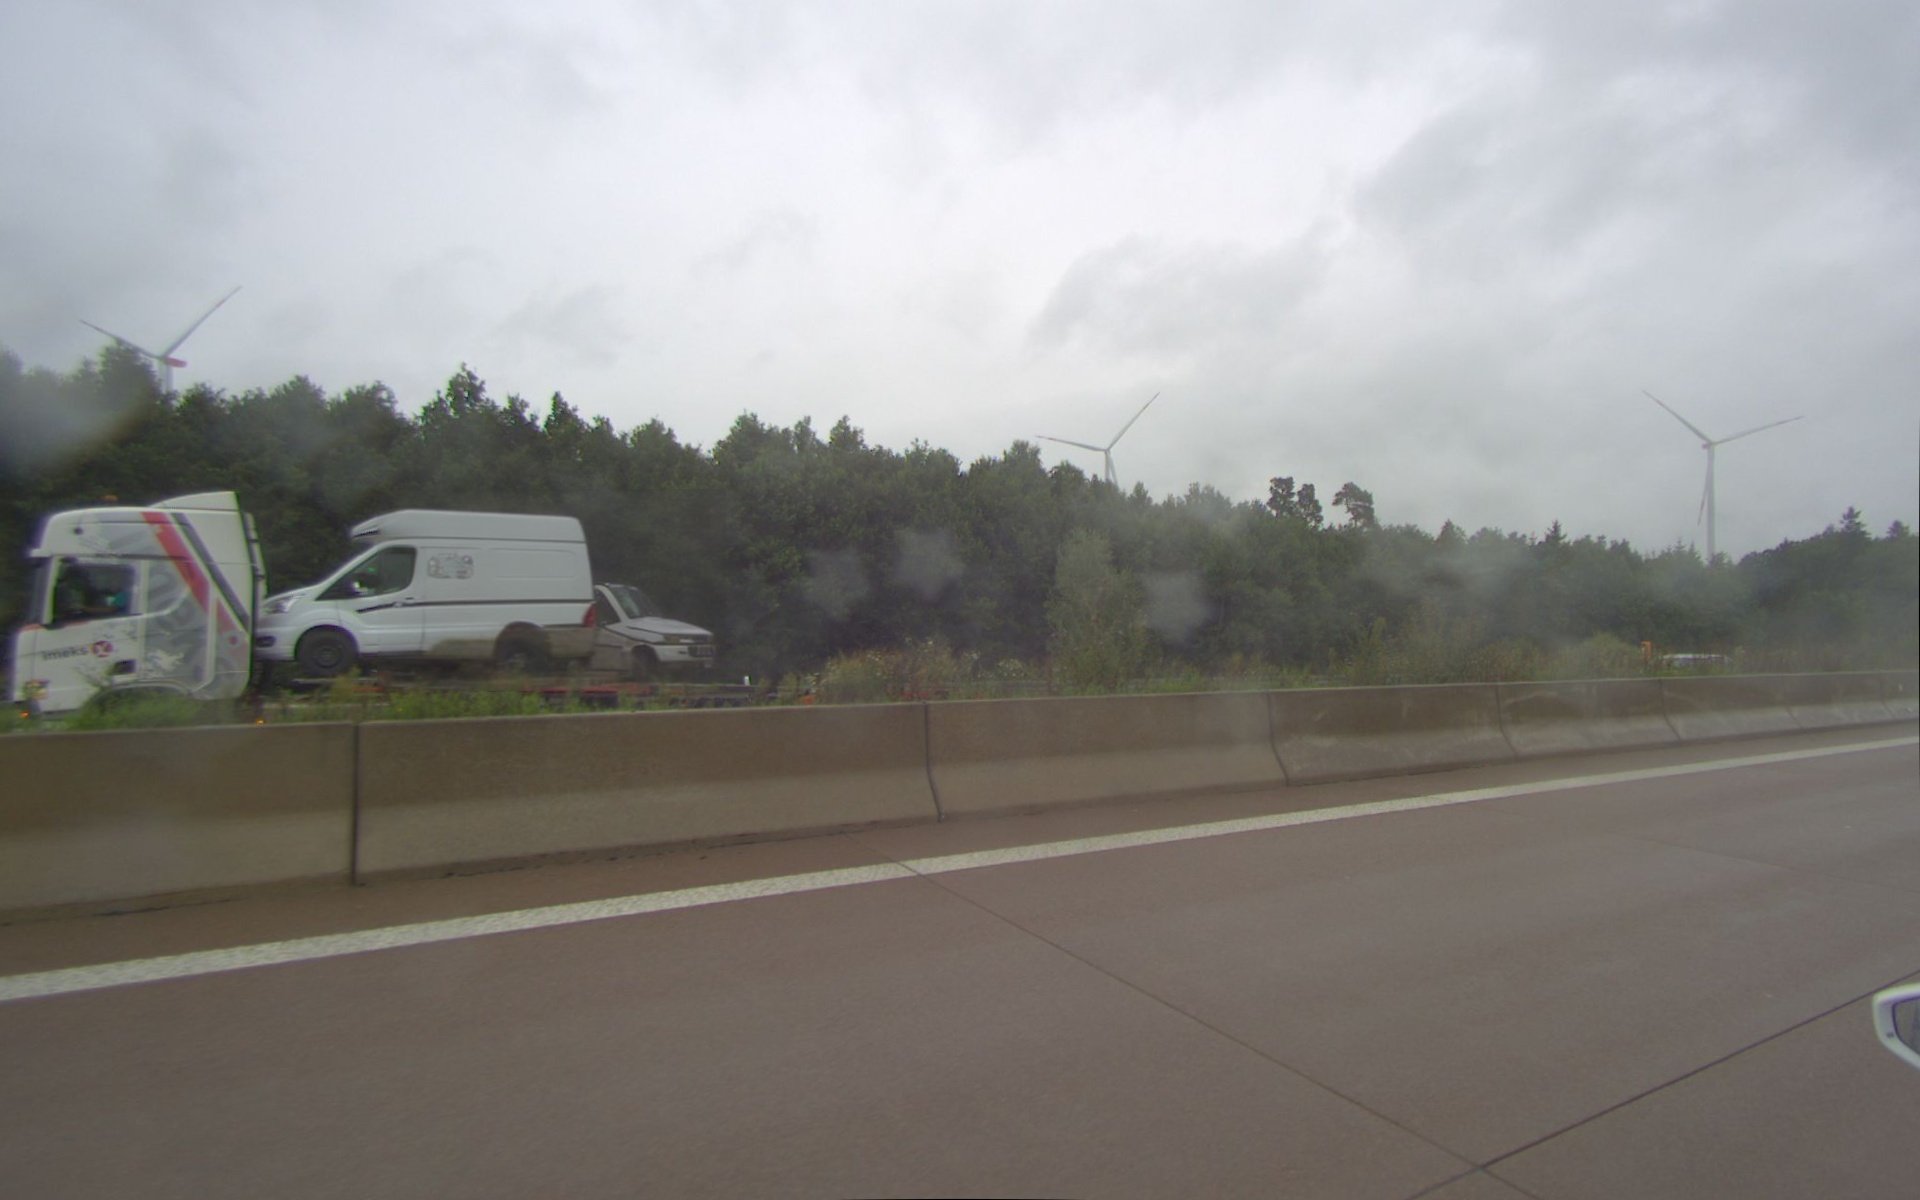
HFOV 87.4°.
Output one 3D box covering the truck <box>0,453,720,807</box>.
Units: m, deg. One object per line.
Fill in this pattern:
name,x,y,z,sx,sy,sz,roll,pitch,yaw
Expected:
truck,-9.079,0.447,16.501,9.444,4.532,3.131,1,1,-30
